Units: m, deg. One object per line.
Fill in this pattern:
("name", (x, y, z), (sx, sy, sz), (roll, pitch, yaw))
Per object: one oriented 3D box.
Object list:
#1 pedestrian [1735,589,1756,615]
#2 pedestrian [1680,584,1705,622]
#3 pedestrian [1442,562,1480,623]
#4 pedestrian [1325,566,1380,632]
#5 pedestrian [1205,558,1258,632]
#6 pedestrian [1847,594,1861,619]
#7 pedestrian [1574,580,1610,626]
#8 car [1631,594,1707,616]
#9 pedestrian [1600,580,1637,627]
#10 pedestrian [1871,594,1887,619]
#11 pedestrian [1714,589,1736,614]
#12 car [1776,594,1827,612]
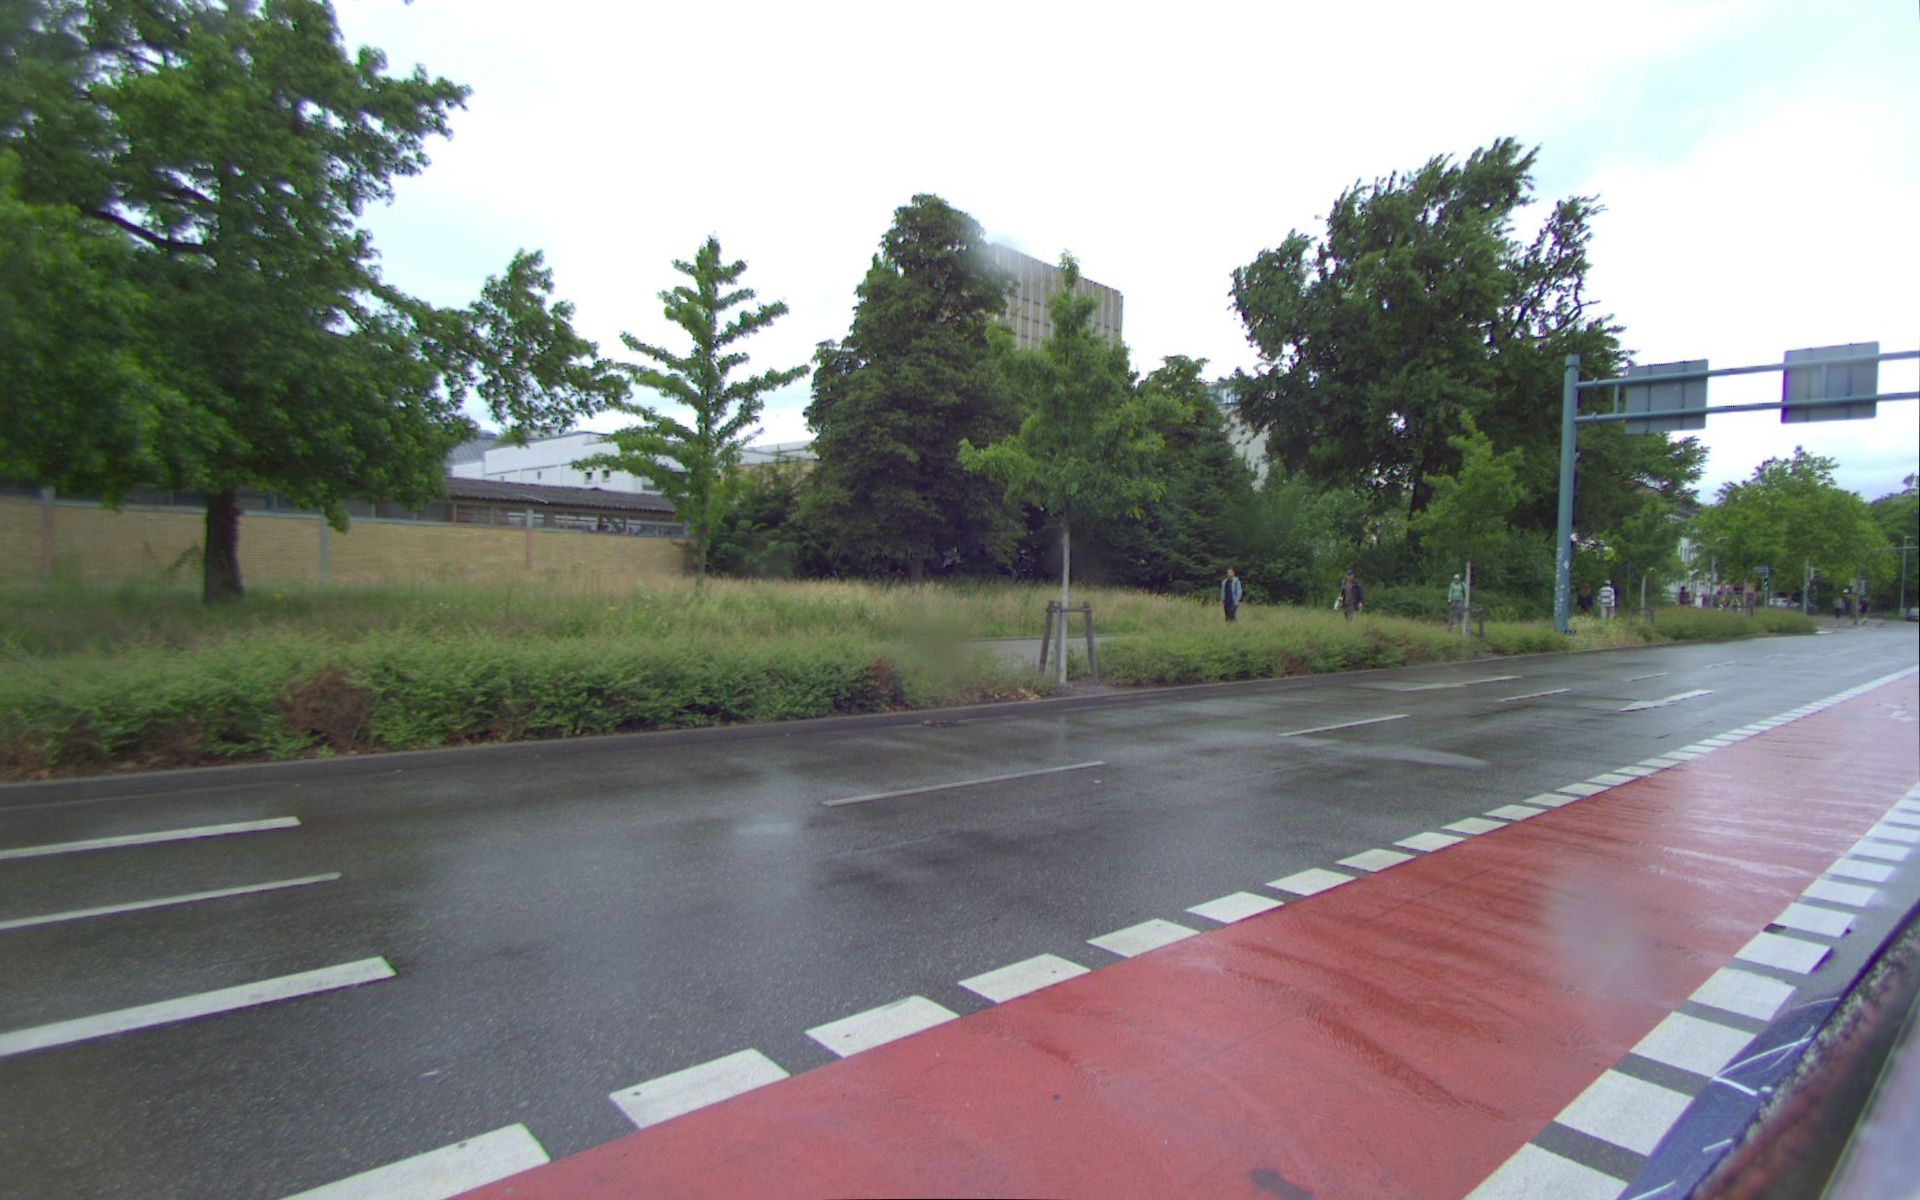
("pedestrian", (51.984, 0.120, 66.961), (0.868, 1.627, 0.856), (2, 1, 26))
("pedestrian", (36.574, 0.160, 50.559), (0.834, 1.882, 0.732), (1, 1, -36))
("pedestrian", (17.027, -0.270, 34.385), (0.813, 2.038, 0.793), (1, 1, -36))
("pedestrian", (10.706, -0.033, 27.583), (1.026, 1.769, 0.936), (1, 1, -36))
("pedestrian", (6.879, -0.140, 25.616), (0.813, 1.819, 0.936), (1, 1, -35))
("pedestrian", (69.052, 0.489, 78.192), (0.620, 1.847, 0.777), (2, 1, 33))
("pedestrian", (24.676, 0.122, 39.505), (0.813, 1.726, 0.936), (4, -2, -37))
("car", (52.158, 0.361, 74.505), (1.745, 1.353, 4.378), (-3, 4, -45))
("pedestrian", (25.134, 0.140, 38.627), (0.813, 1.743, 0.936), (4, -2, -37))
("pedestrian", (70.240, 0.514, 77.352), (0.618, 1.847, 0.780), (2, 1, 26))
("pedestrian", (51.137, 0.068, 67.634), (0.866, 1.627, 0.858), (2, 1, 20))
("car", (97.830, 0.325, 117.697), (4.408, 1.896, 1.614), (3, 2, 41))
